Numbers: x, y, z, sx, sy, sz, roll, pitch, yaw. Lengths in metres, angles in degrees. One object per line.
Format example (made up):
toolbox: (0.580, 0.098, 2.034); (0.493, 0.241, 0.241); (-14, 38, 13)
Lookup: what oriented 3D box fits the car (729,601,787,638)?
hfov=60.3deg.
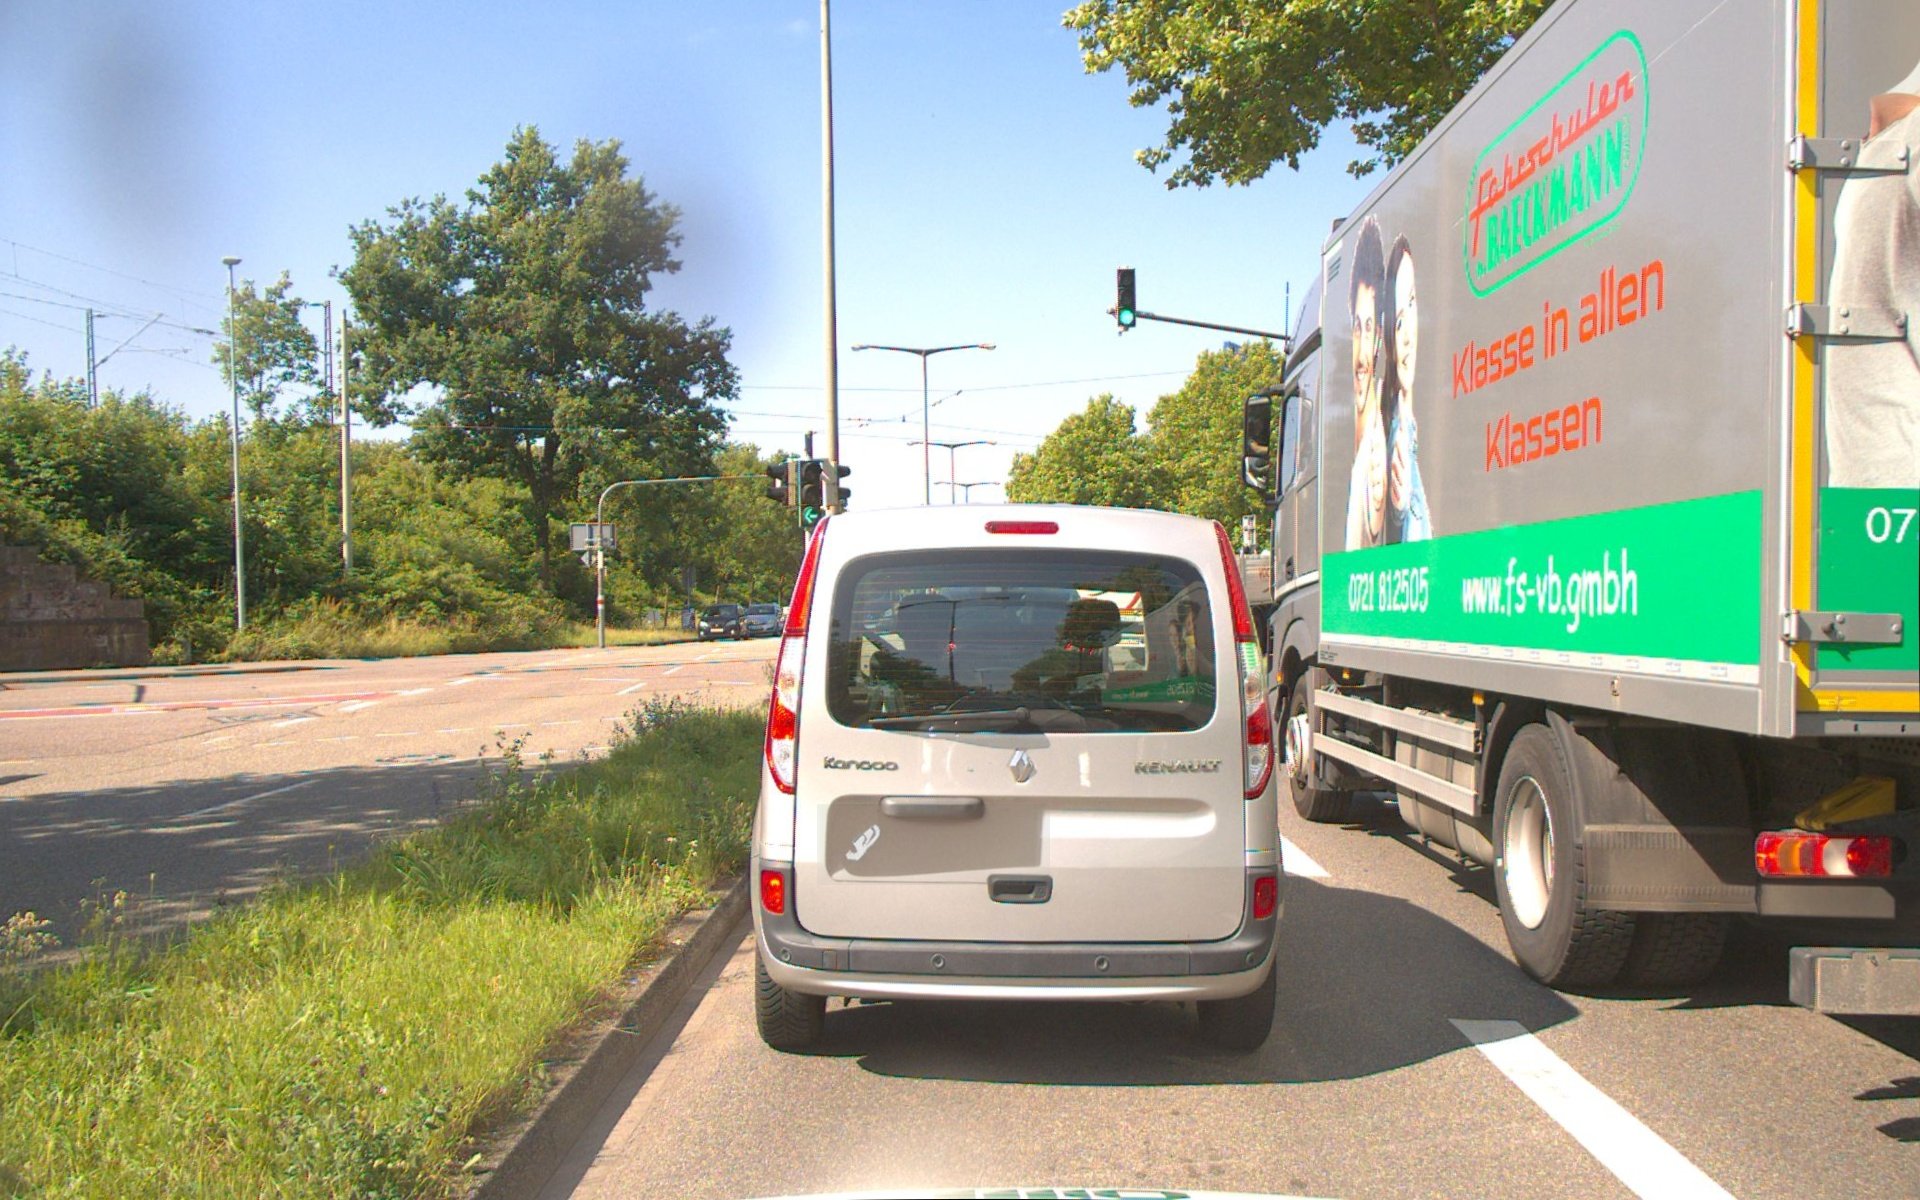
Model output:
car: (-9.100, 0.870, 74.752); (1.952, 1.567, 4.237); (-1, 0, 2)

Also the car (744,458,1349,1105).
car: (0.231, 0.543, 6.853); (1.750, 1.870, 3.999); (1, 0, -1)

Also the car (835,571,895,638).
car: (-3.942, 0.189, 69.371); (1.952, 2.653, 5.135); (-1, 0, 2)

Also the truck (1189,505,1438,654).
truck: (9.615, -0.471, 44.498); (7.124, 3.707, 2.877); (1, -1, -41)

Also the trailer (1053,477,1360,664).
trailer: (6.253, -0.523, 38.890); (2.845, 3.686, 12.663); (1, 0, 29)

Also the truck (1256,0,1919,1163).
truck: (3.538, -0.538, 8.548); (2.673, 3.958, 8.724); (0, 0, 2)

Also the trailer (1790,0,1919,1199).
trailer: (3.357, -0.580, 0.258); (2.680, 3.945, 7.736); (-1, 0, 1)

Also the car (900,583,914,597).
car: (-8.173, -1.580, 254.076); (1.849, 2.049, 4.001); (1, 0, 1)

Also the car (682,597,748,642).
car: (-9.591, 0.751, 64.927); (1.872, 1.670, 3.738); (-1, 0, 2)
